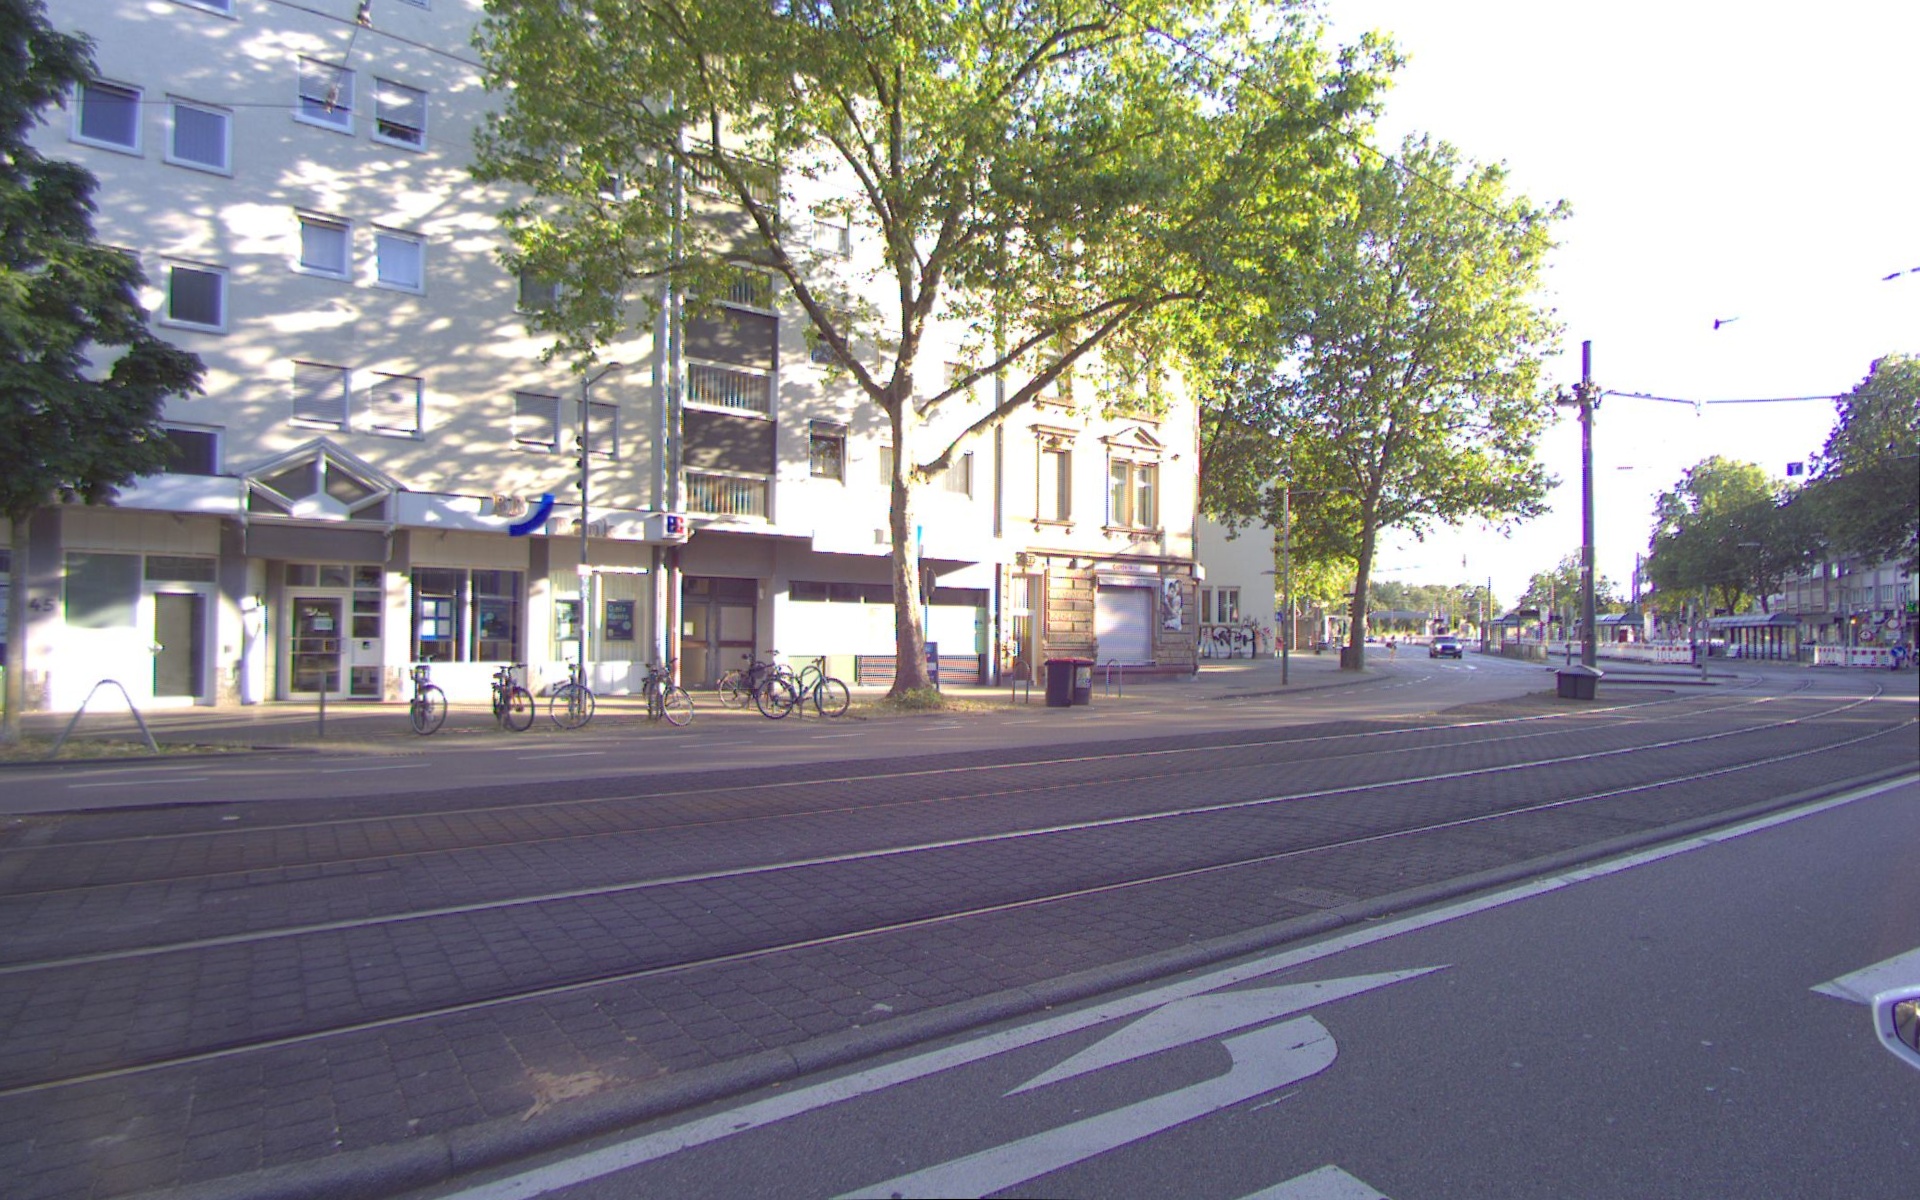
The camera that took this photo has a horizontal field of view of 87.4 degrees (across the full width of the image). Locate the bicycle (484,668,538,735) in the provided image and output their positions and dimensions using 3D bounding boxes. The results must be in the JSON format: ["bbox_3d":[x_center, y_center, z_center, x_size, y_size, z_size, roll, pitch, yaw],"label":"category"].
[{"bbox_3d":[-6.997,1.550,15.625,0.467,0.900,1.729,2,-1,-34],"label":"bicycle"}]

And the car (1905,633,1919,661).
[{"bbox_3d":[64.602,3.137,66.162,1.960,1.815,4.000,2,-1,20],"label":"car"}]

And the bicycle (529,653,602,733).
[{"bbox_3d":[-6.341,1.451,16.084,0.724,1.128,1.729,2,-1,-34],"label":"bicycle"}]

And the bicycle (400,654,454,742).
[{"bbox_3d":[-7.837,1.402,14.744,0.506,1.153,1.729,2,-1,-34],"label":"bicycle"}]

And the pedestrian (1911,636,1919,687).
[{"bbox_3d":[32.424,2.066,33.479,0.639,1.708,0.985,3,-2,-41],"label":"pedestrian"}]

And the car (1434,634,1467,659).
[{"bbox_3d":[33.389,3.142,68.445,1.962,1.661,3.997,0,-2,25],"label":"car"}]

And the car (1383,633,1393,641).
[{"bbox_3d":[89.568,7.764,210.270,1.814,1.706,3.716,0,-2,23],"label":"car"}]

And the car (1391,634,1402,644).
[{"bbox_3d":[78.771,7.051,181.338,1.814,1.706,3.715,-2,-2,23],"label":"car"}]

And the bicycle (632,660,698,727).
[{"bbox_3d":[-5.070,1.569,17.184,0.584,1.002,1.729,2,-1,-34],"label":"bicycle"}]

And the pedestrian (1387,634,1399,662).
[{"bbox_3d":[26.277,2.898,60.982,0.645,1.678,0.444,0,-2,18],"label":"pedestrian"}]

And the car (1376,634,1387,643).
[{"bbox_3d":[79.450,7.215,189.321,1.814,1.706,3.716,0,-2,23],"label":"car"}]

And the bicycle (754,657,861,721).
[{"bbox_3d":[-2.739,1.573,18.082,1.800,1.091,0.649,2,-2,-29],"label":"bicycle"}]

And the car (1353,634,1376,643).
[{"bbox_3d":[78.237,7.395,194.275,3.919,1.661,1.792,0,-2,13],"label":"car"}]

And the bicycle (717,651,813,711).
[{"bbox_3d":[-3.870,1.590,19.966,1.777,1.132,0.617,2,-2,-29],"label":"bicycle"}]
